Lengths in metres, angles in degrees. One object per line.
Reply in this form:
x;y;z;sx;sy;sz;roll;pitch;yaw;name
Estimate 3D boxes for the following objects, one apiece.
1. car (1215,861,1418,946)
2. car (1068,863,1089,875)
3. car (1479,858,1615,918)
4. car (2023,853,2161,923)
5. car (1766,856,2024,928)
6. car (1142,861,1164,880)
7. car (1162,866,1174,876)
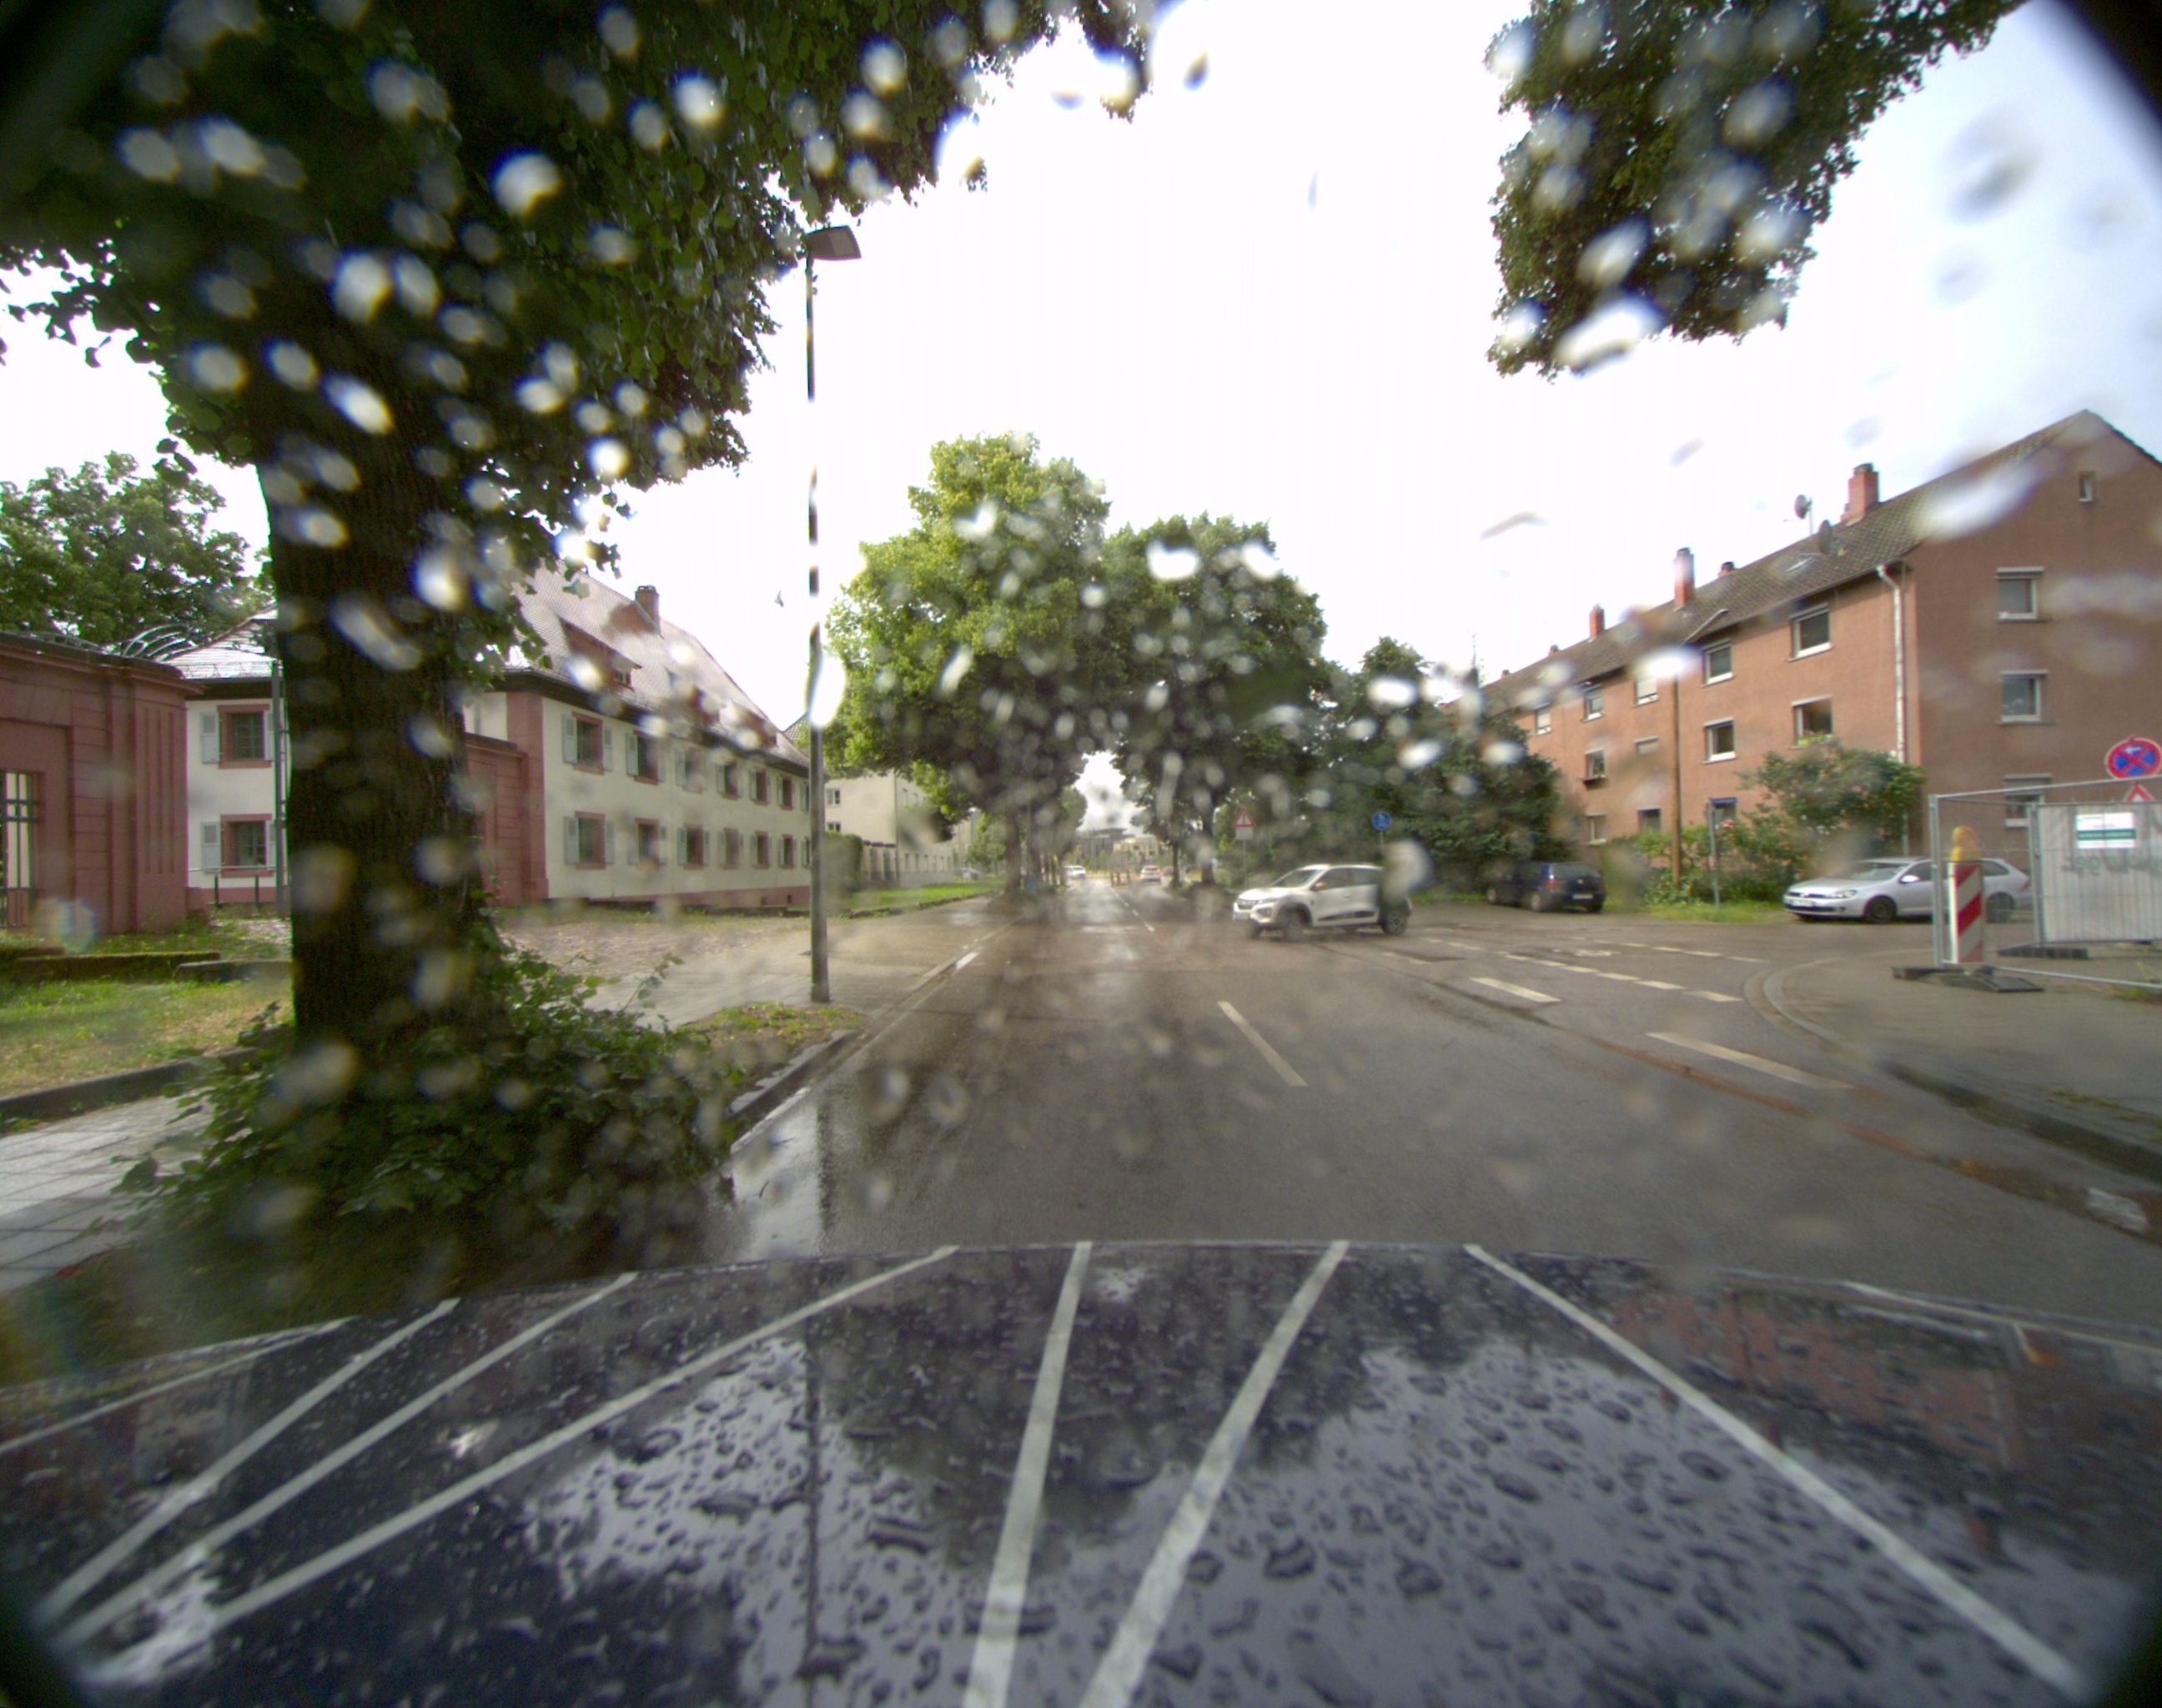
4.806;0.956;15.655;3.619;1.524;1.736;-1;0;-15;car
-0.405;2.232;111.869;1.894;1.703;4.223;-1;-1;-19;car
13.322;0.907;21.990;1.628;1.412;3.870;-3;1;2;car
23.901;0.714;17.139;4.068;1.404;1.726;-1;0;-13;car
18.499;0.833;17.406;4.064;1.464;1.728;-1;0;-1;car
6.906;1.575;73.284;1.891;1.703;4.230;-1;-1;2;car
13.985;2.694;122.575;1.683;1.499;3.795;-1;-1;4;car
